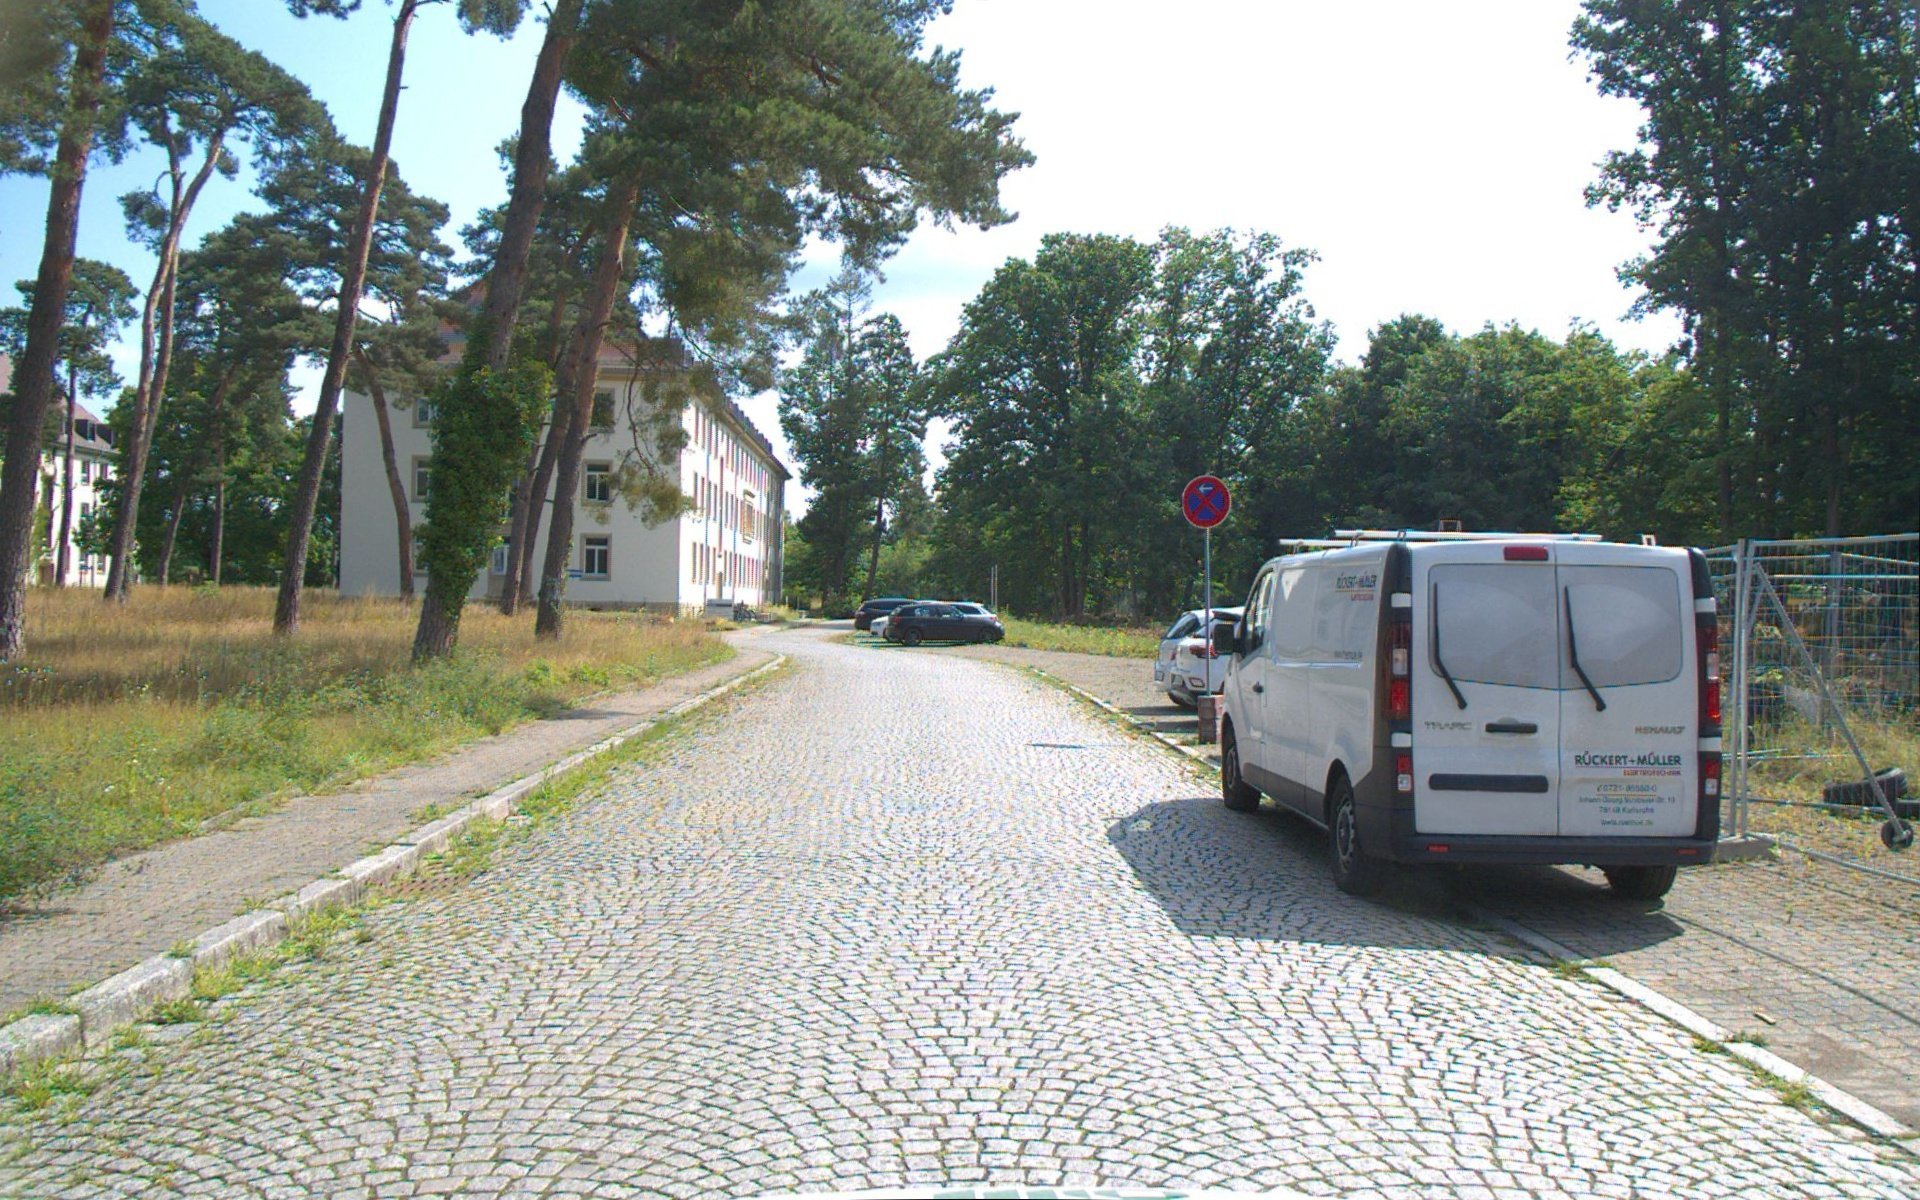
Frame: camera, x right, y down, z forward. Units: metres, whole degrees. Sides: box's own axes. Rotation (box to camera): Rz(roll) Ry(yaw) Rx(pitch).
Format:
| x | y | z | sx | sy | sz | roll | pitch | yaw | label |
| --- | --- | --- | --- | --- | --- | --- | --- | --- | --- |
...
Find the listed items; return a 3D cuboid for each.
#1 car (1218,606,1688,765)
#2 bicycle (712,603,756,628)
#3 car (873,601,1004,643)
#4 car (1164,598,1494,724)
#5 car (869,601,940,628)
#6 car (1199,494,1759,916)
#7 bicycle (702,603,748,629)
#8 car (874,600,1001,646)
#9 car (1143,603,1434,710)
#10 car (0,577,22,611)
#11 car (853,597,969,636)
| x | y | z | sx | sy | sz | roll | pitch | yaw | label |
| --- | --- | --- | --- | --- | --- | --- | --- | --- | --- |
| 5.057 | 0.835 | 17.241 | 4.368 | 1.501 | 1.743 | -1 | 0 | -7 | car |
| -11.652 | 0.806 | 85.329 | 2.176 | 1.282 | 0.623 | 1 | -1 | 0 | bicycle |
| -0.815 | 0.801 | 61.389 | 4.766 | 1.498 | 1.873 | 0 | 1 | -4 | car |
| 4.785 | 0.765 | 21.763 | 3.909 | 1.533 | 1.745 | -1 | 0 | -5 | car |
| -3.246 | 0.848 | 96.775 | 4.101 | 1.570 | 1.820 | 0 | -1 | -1 | car |
| 3.010 | 0.544 | 11.102 | 1.875 | 2.089 | 5.677 | 1 | 0 | -1 | car |
| -11.739 | 0.800 | 82.629 | 2.175 | 1.282 | 0.623 | 1 | -1 | 4 | bicycle |
| -0.808 | 0.801 | 58.202 | 4.246 | 1.526 | 1.825 | 0 | 1 | -11 | car |
| 4.874 | 0.818 | 24.831 | 3.963 | 1.489 | 1.702 | -1 | 0 | -5 | car |
| -58.994 | -0.355 | 99.607 | 3.977 | 2.026 | 1.712 | 1 | -1 | -2 | car |
| -2.068 | 0.688 | 68.685 | 4.757 | 1.580 | 1.878 | 0 | -1 | -4 | car |
